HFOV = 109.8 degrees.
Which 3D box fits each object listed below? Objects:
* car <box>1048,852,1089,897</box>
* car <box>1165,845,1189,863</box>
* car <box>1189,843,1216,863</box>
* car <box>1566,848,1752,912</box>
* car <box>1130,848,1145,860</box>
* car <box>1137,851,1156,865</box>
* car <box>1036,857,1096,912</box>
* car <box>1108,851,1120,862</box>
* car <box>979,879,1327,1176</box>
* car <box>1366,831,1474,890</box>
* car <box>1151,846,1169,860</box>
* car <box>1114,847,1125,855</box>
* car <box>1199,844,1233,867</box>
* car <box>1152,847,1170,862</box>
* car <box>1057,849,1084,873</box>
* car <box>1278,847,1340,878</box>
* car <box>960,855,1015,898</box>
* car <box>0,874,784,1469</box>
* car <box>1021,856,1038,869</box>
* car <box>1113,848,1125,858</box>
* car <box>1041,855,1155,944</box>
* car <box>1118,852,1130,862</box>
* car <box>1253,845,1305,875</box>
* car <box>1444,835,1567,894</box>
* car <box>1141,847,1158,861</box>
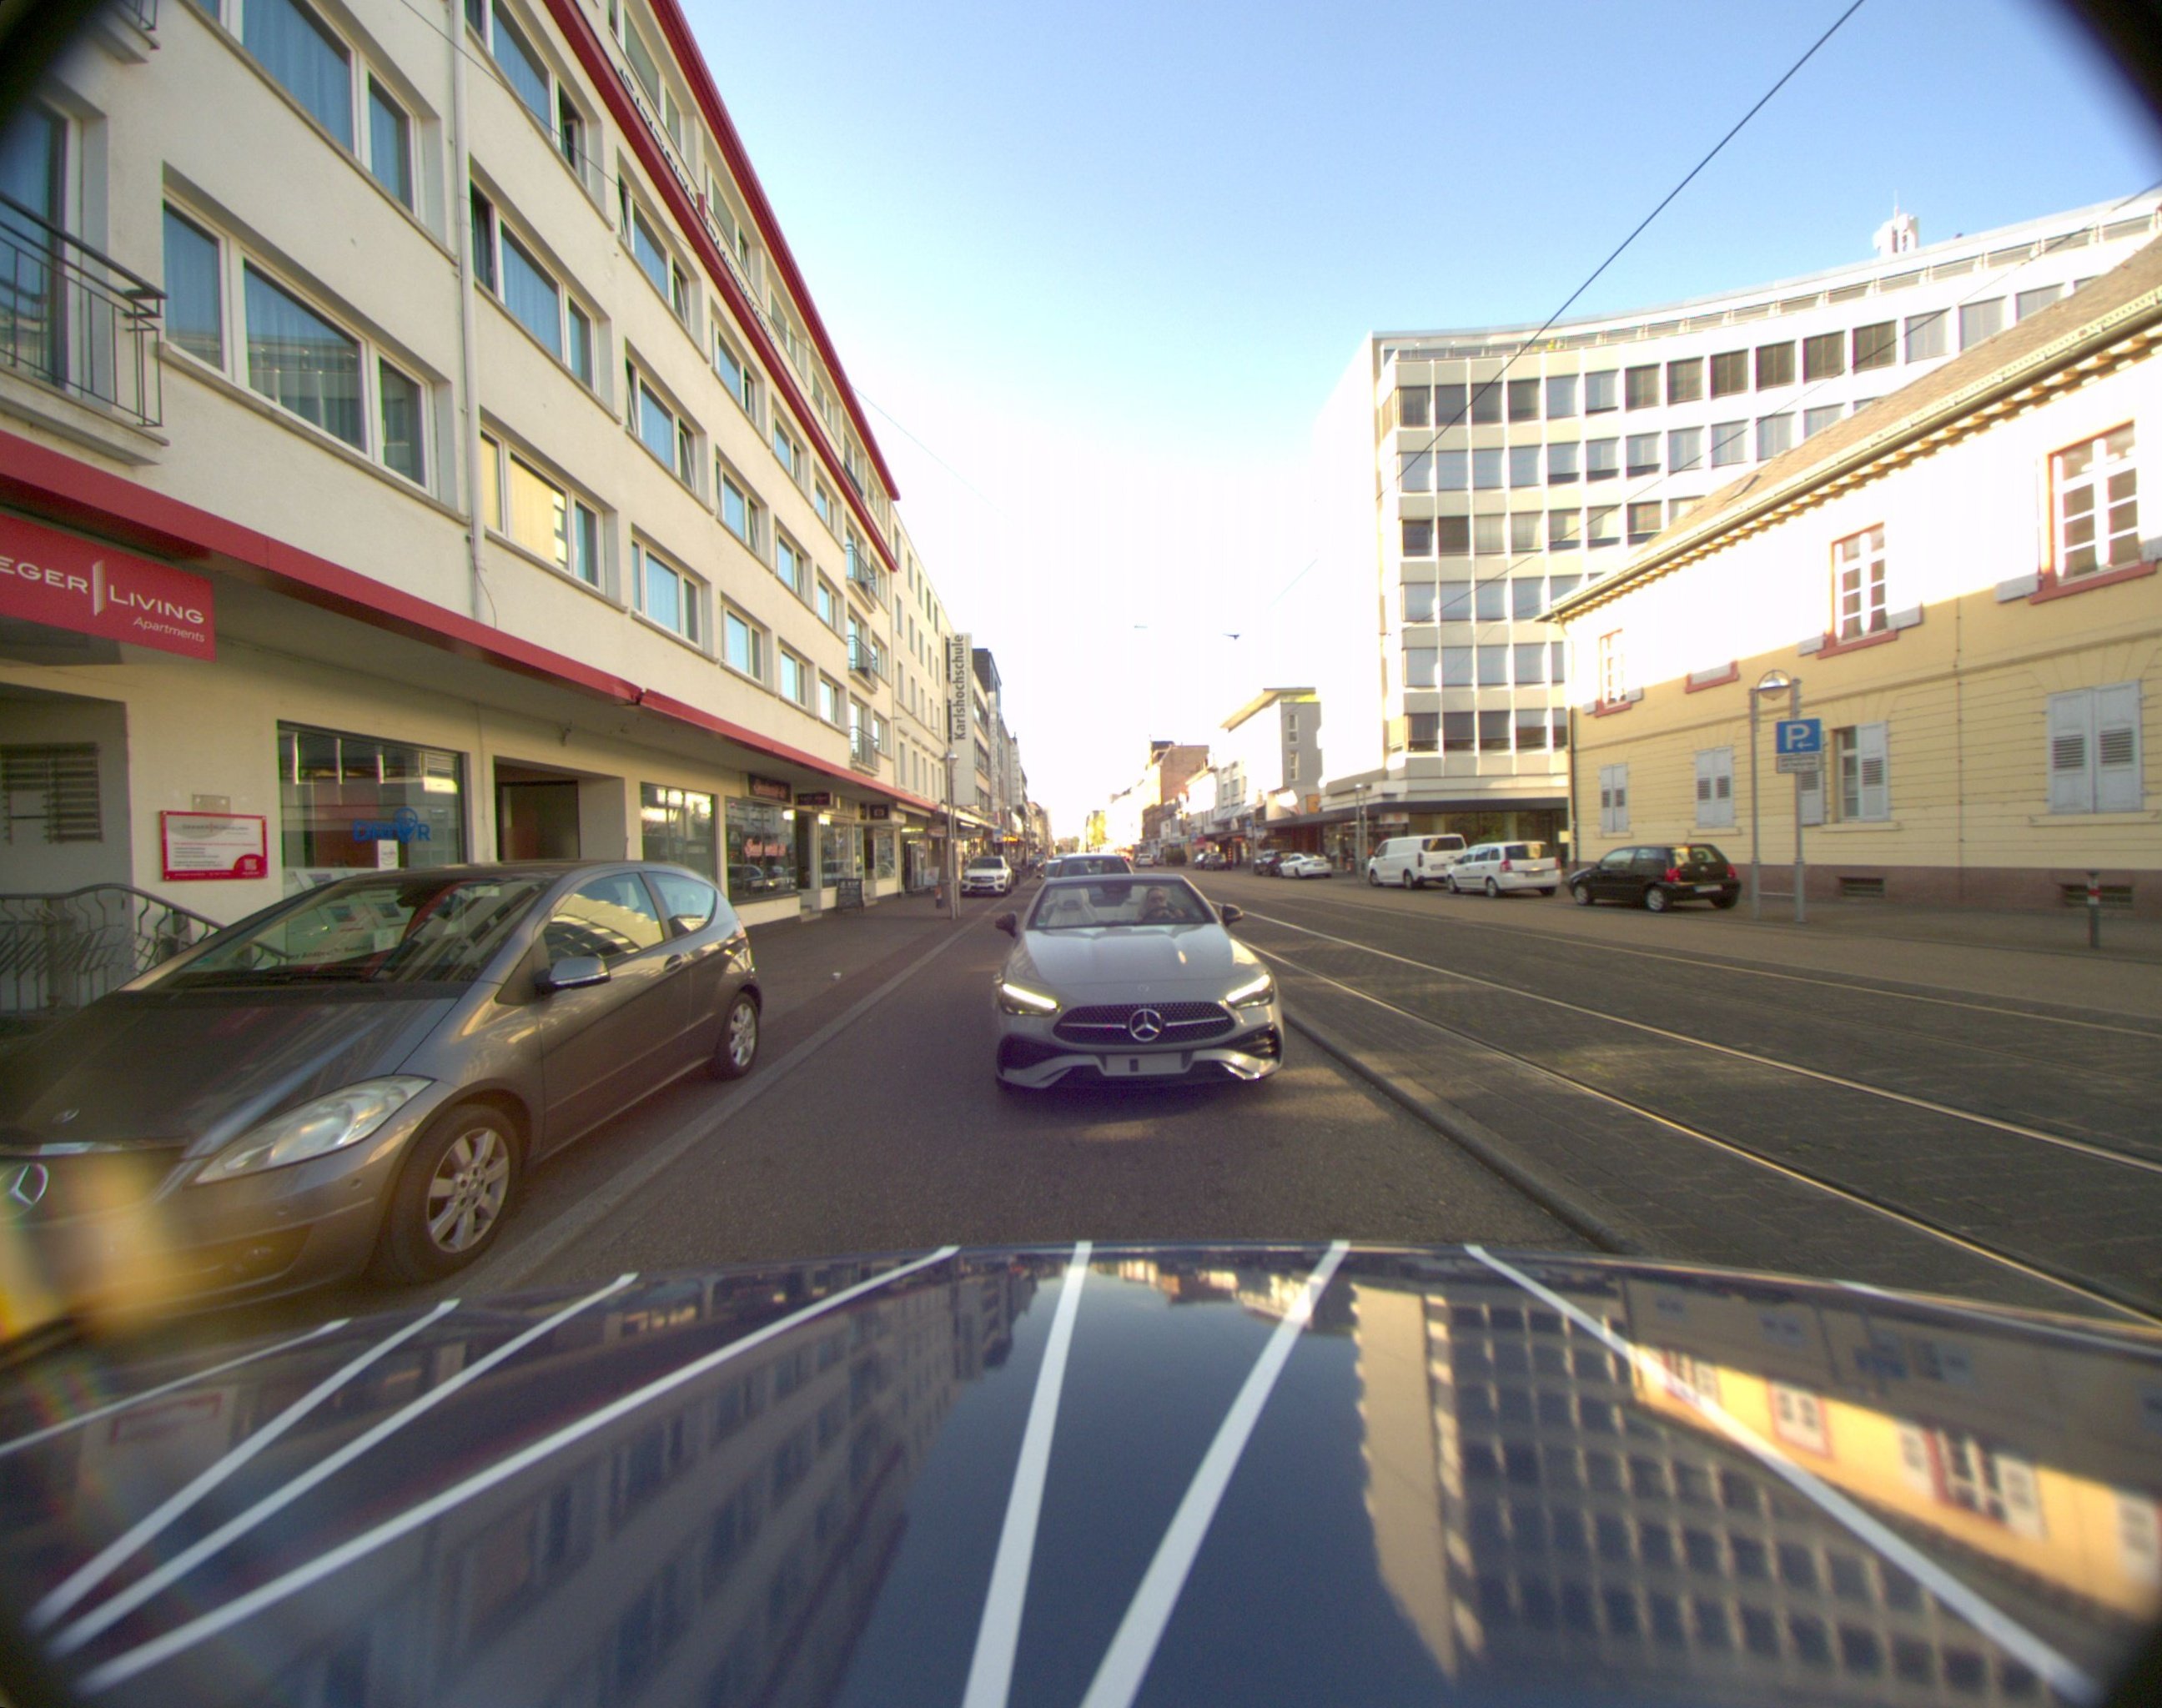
[{"bbox_3d":[-0.542,0.802,31.890,1.573,1.670,3.688,-2,1,-1],"label":"car"},{"bbox_3d":[11.371,-0.045,90.379,2.200,2.030,3.999,-1,0,-1],"label":"car"},{"bbox_3d":[11.838,-0.063,74.043,1.789,1.870,3.999,-1,0,-2],"label":"car"},{"bbox_3d":[12.860,0.522,17.147,1.688,1.246,3.212,-2,1,-1],"label":"car"},{"bbox_3d":[9.981,-0.009,134.311,1.999,2.002,3.998,-1,0,-4],"label":"car"},{"bbox_3d":[7.633,0.428,88.886,1.760,1.587,3.999,-1,0,-2],"label":"car"},{"bbox_3d":[-0.487,0.867,23.536,1.648,1.506,3.844,-2,0,-2],"label":"car"},{"bbox_3d":[6.615,0.430,151.005,1.999,2.002,3.998,-2,1,-2],"label":"car"},{"bbox_3d":[0.269,1.007,6.178,1.884,1.375,3.998,-2,1,-4],"label":"car"},{"bbox_3d":[12.685,0.230,28.796,2.040,2.002,4.621,-1,0,1],"label":"car"},{"bbox_3d":[11.527,-0.184,111.400,1.999,2.002,3.998,-2,1,-2],"label":"car"},{"bbox_3d":[8.928,-0.745,176.546,2.148,1.850,3.998,-2,1,-2],"label":"car"},{"bbox_3d":[11.637,0.104,65.625,1.999,1.849,3.998,-2,1,-2],"label":"car"},{"bbox_3d":[10.642,0.074,100.816,1.998,2.002,4.000,-1,0,1],"label":"car"},{"bbox_3d":[-0.856,0.522,60.095,1.999,1.793,3.999,-2,1,-1],"label":"car"},{"bbox_3d":[12.594,0.421,42.260,1.999,1.521,4.373,-2,1,-1],"label":"car"},{"bbox_3d":[-3.843,0.888,31.728,1.999,1.620,3.998,-1,0,-4],"label":"car"},{"bbox_3d":[-3.228,0.960,4.110,1.683,1.537,3.999,-2,0,-1],"label":"car"},{"bbox_3d":[-6.106,0.957,90.291,1.714,1.430,3.756,-2,1,-1],"label":"car"},{"bbox_3d":[7.078,-0.171,142.095,1.914,1.883,3.855,-2,1,-2],"label":"car"},{"bbox_3d":[0.200,0.817,15.696,1.927,1.533,3.998,-2,0,-4],"label":"car"},{"bbox_3d":[7.125,0.482,126.059,1.964,1.499,4.000,-2,1,4],"label":"car"},{"bbox_3d":[12.335,0.361,47.693,1.999,1.694,4.107,-3,1,-2],"label":"car"},{"bbox_3d":[12.799,0.265,23.213,1.641,1.600,4.005,-2,1,3],"label":"car"},{"bbox_3d":[10.752,0.016,119.488,1.999,2.002,5.320,-1,0,-2],"label":"car"}]
